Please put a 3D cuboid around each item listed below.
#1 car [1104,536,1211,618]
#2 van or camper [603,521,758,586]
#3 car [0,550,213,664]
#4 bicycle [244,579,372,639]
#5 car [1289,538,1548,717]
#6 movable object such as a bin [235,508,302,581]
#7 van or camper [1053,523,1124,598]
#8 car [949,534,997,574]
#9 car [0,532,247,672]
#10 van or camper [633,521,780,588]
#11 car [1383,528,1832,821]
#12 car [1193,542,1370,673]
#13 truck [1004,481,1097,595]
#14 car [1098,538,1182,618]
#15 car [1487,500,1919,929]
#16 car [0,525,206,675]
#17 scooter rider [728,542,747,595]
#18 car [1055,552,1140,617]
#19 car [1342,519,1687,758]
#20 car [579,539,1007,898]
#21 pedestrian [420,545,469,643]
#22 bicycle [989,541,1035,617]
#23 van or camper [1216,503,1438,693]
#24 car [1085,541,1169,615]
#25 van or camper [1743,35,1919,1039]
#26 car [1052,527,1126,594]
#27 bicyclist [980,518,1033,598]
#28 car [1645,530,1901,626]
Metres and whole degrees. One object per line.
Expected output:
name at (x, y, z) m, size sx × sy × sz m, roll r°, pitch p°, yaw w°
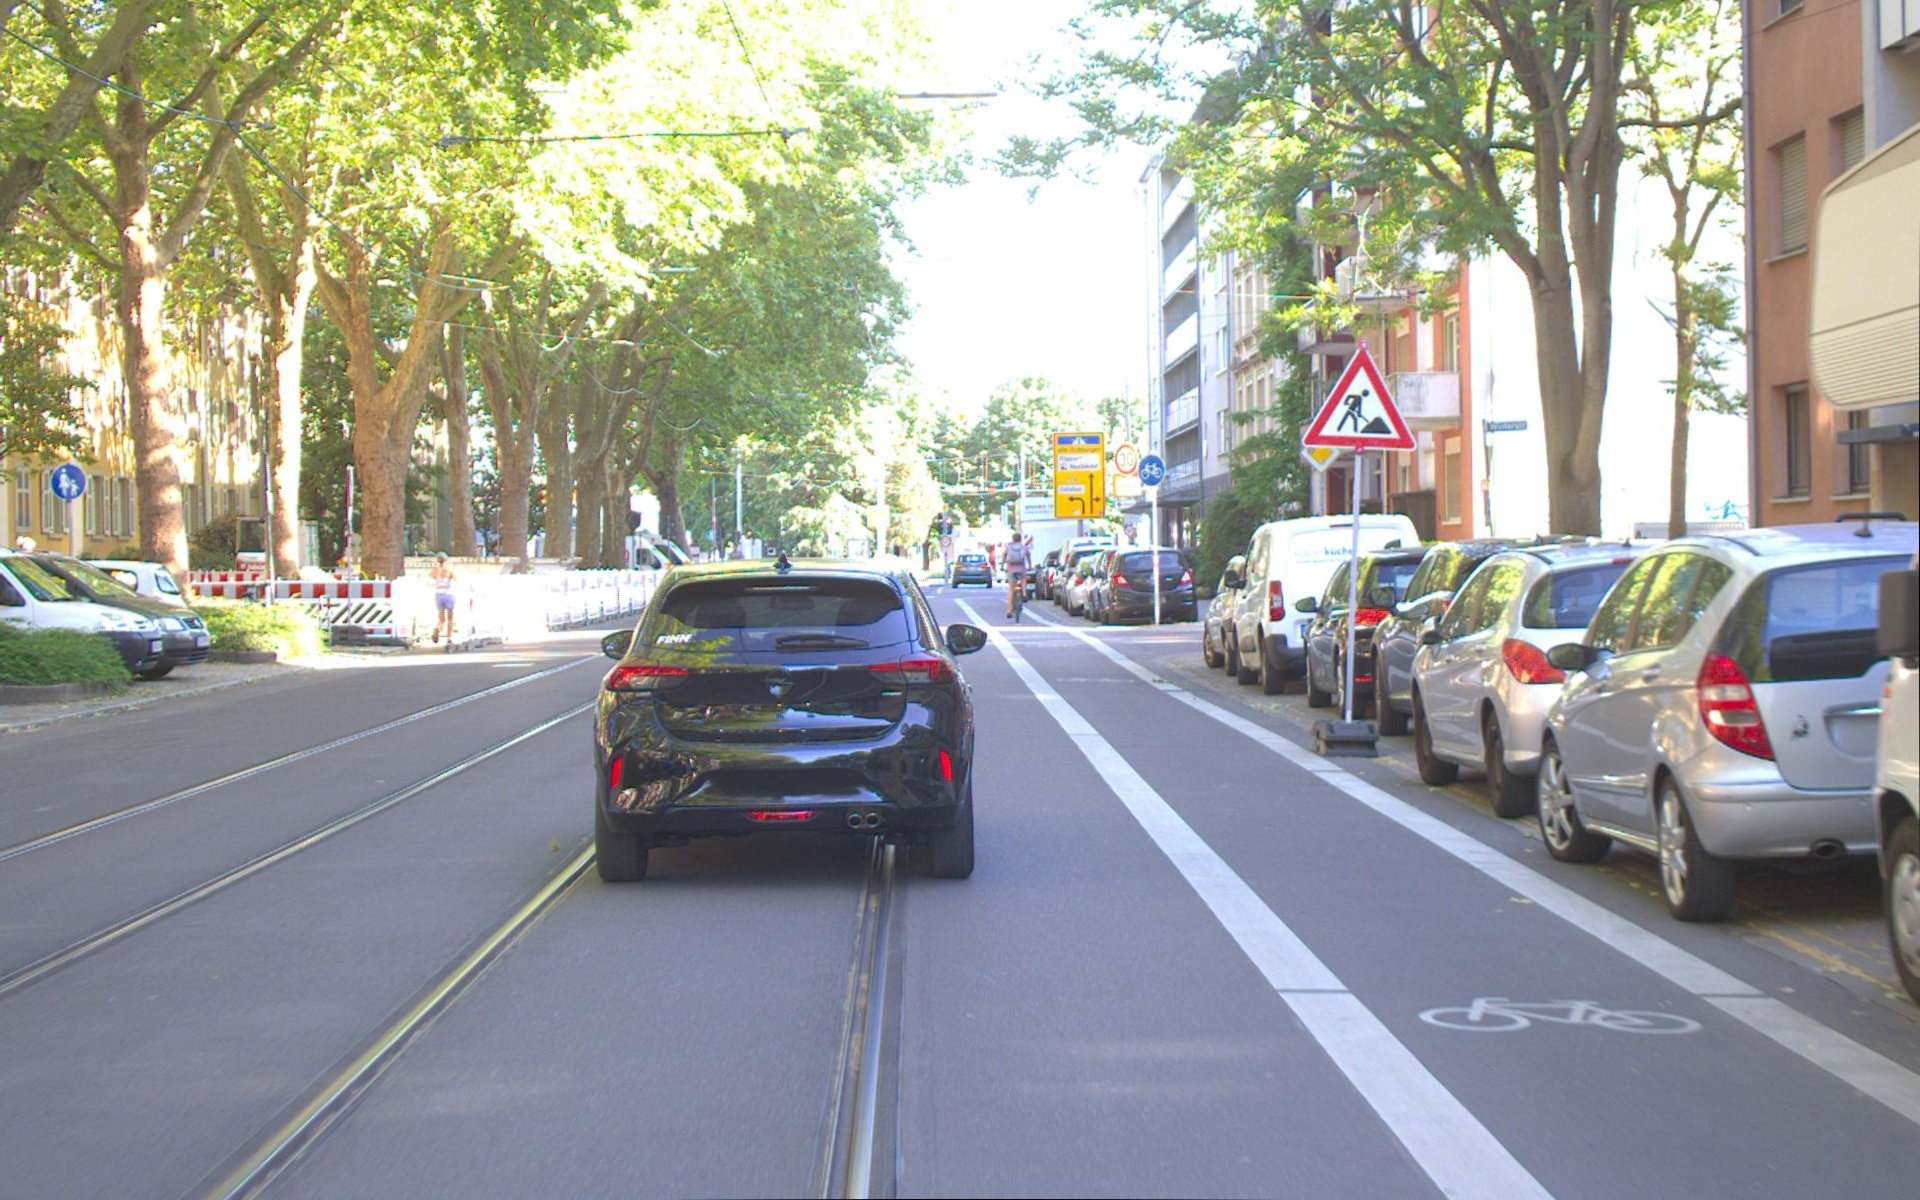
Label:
car at (3.792, -0.461, 66.500) m, size 1.733 × 1.457 × 3.916 m, roll -3°, pitch 1°, yaw -1°
van or camper at (-10.429, -1.750, 128.689) m, size 5.502 × 2.371 × 2.269 m, roll 0°, pitch 0°, yaw 3°
car at (-12.446, 0.095, 47.439) m, size 3.847 × 1.492 × 1.862 m, roll -1°, pitch 1°, yaw 0°
bicycle at (-10.803, 0.141, 57.003) m, size 1.972 × 0.959 × 0.726 m, roll -1°, pitch 1°, yaw 1°
car at (4.048, 0.191, 30.934) m, size 1.705 × 1.468 × 4.168 m, roll -1°, pitch 1°, yaw -1°
movable object such as a bin at (-17.879, -1.425, 88.922) m, size 1.333 × 1.862 × 2.008 m, roll 0°, pitch 0°, yaw 0°
van or camper at (3.357, -1.054, 90.463) m, size 1.669 × 1.876 × 4.211 m, roll -2°, pitch 1°, yaw 0°
car at (0.572, -2.049, 152.996) m, size 1.993 × 1.690 × 4.740 m, roll -3°, pitch 1°, yaw -1°
car at (-11.353, 0.022, 43.258) m, size 4.235 × 1.682 × 1.933 m, roll -1°, pitch 1°, yaw 7°
van or camper at (-10.174, -1.825, 138.341) m, size 5.723 × 2.635 × 2.269 m, roll 0°, pitch 0°, yaw 0°
car at (3.791, 0.367, 20.860) m, size 1.788 × 1.517 × 4.322 m, roll -3°, pitch 1°, yaw -1°
car at (3.848, 0.051, 41.730) m, size 1.705 × 1.468 × 4.000 m, roll -1°, pitch 1°, yaw -1°
truck at (2.798, -1.932, 108.001) m, size 2.538 × 3.326 × 7.195 m, roll -3°, pitch 1°, yaw 0°
car at (3.658, -0.456, 70.350) m, size 1.526 × 1.584 × 3.752 m, roll 0°, pitch 0°, yaw 0°
car at (3.667, 0.390, 15.501) m, size 1.793 × 1.622 × 4.277 m, roll -3°, pitch 1°, yaw -1°
car at (-11.290, -0.017, 40.979) m, size 4.198 × 1.751 × 1.740 m, roll 0°, pitch 1°, yaw 1°
scooter rider at (-8.129, -1.148, 125.412) m, size 0.649 × 1.950 × 0.624 m, roll 0°, pitch 0°, yaw 0°
car at (3.200, -0.394, 80.729) m, size 1.659 × 1.394 × 4.740 m, roll -3°, pitch 1°, yaw -1°
car at (4.064, 0.227, 25.854) m, size 1.767 × 1.567 × 4.337 m, roll -3°, pitch 1°, yaw -1°
car at (-0.725, 0.459, 16.310) m, size 1.781 × 1.491 × 4.000 m, roll 0°, pitch 1°, yaw -1°
pedestrian at (-8.753, -0.104, 58.388) m, size 0.716 × 1.663 × 0.778 m, roll 0°, pitch 0°, yaw 0°
bicycle at (1.073, -0.459, 71.859) m, size 0.916 × 1.555 × 3.405 m, roll 0°, pitch 1°, yaw 0°
van or camper at (3.840, -0.062, 36.673) m, size 1.755 × 1.858 × 4.831 m, roll -1°, pitch 1°, yaw -1°
car at (3.624, -0.483, 75.169) m, size 1.591 × 1.521 × 3.835 m, roll -3°, pitch 0°, yaw 0°
van or camper at (4.190, -0.194, 9.182) m, size 2.462 × 3.053 × 6.269 m, roll -3°, pitch 1°, yaw -2°
car at (3.197, -1.000, 85.876) m, size 1.660 × 1.575 × 3.589 m, roll -2°, pitch 1°, yaw 0°
bicyclist at (0.971, -0.880, 71.837) m, size 1.089 × 1.641 × 1.400 m, roll 0°, pitch 1°, yaw 0°
car at (13.636, -0.382, 57.787) m, size 3.913 × 1.477 × 1.562 m, roll -1°, pitch 4°, yaw -1°
